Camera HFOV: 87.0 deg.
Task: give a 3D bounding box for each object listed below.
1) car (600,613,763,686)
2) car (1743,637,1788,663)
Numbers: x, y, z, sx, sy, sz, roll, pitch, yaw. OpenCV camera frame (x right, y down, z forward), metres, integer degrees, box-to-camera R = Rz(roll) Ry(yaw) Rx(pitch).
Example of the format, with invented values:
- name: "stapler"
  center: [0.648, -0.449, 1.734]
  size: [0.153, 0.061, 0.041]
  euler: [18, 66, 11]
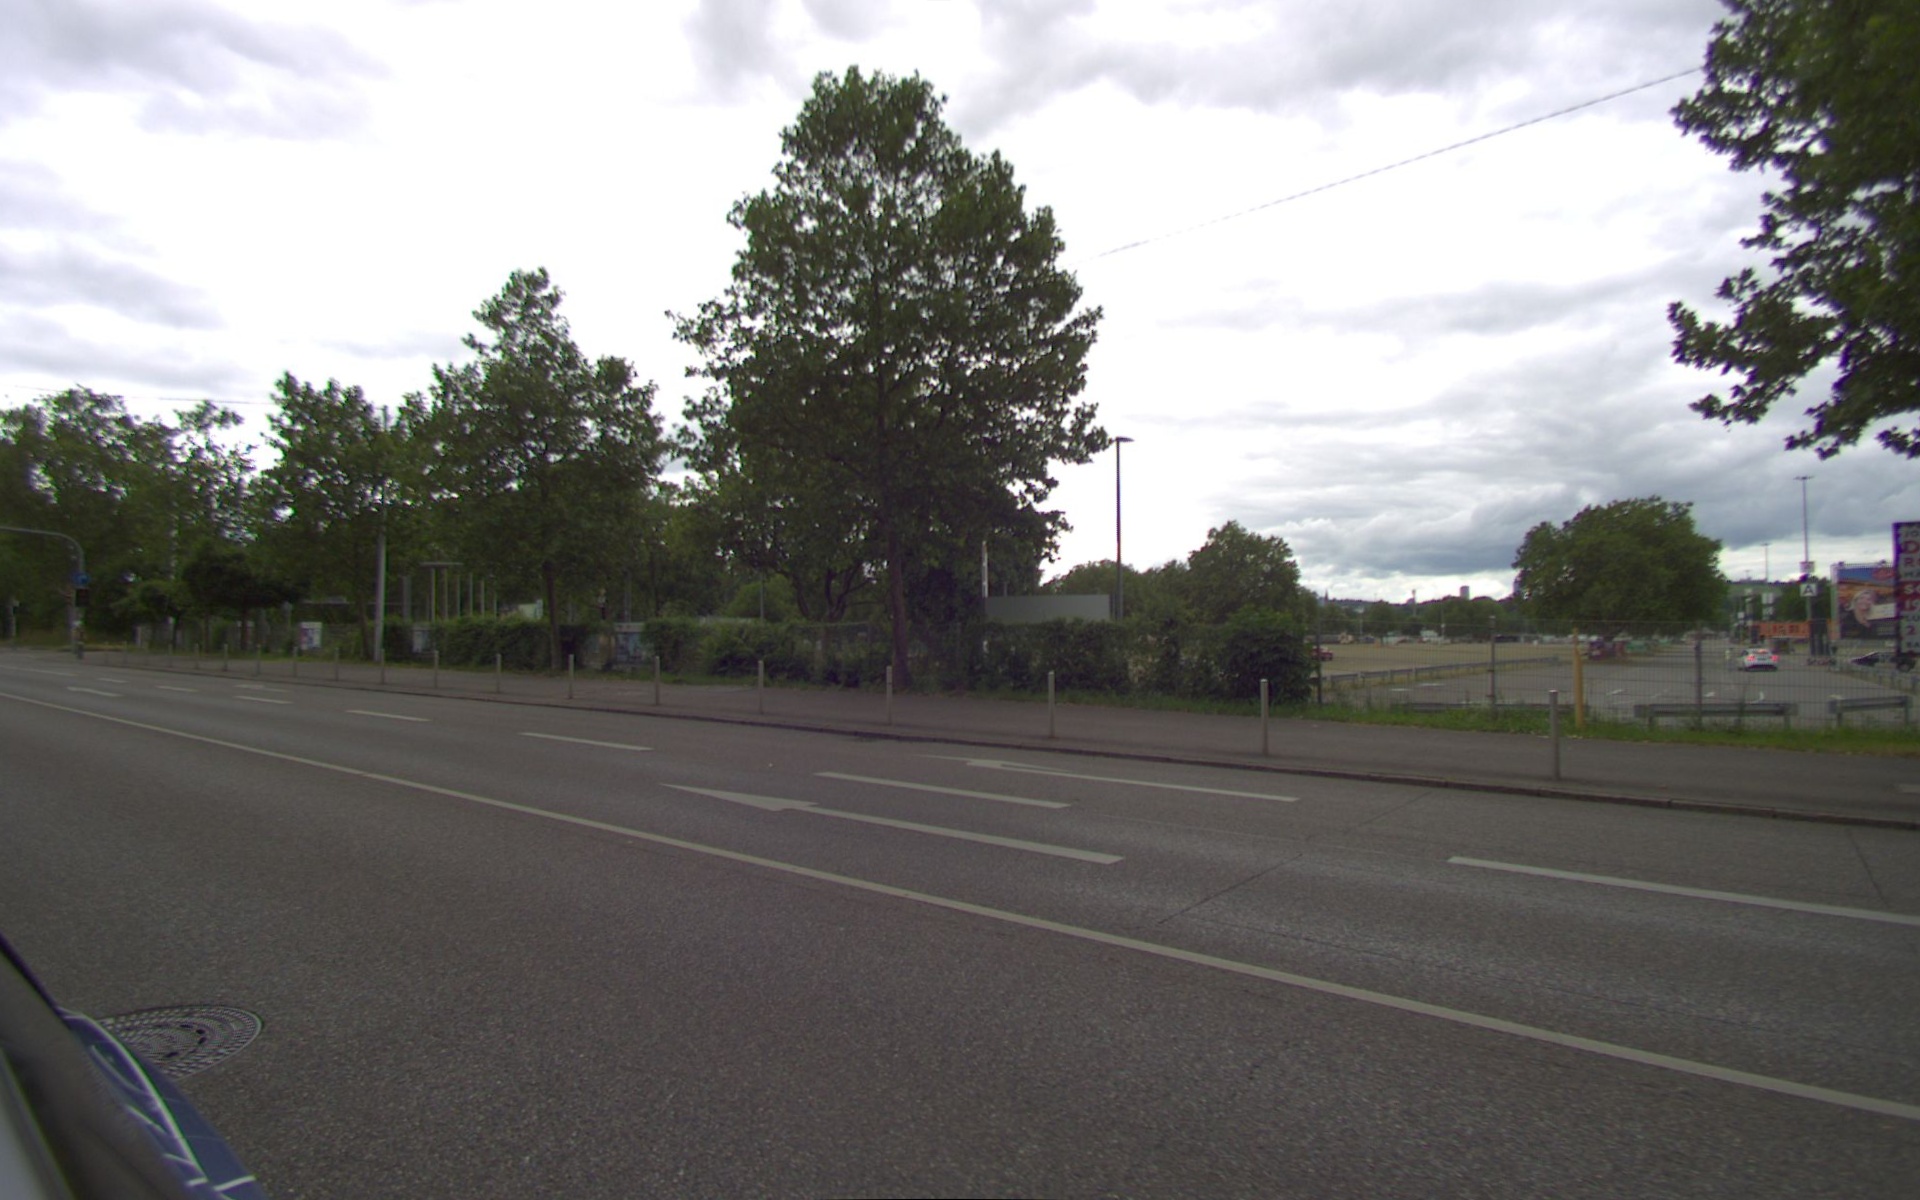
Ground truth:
- name: "car"
  center: [-8.449, 1.461, 30.621]
  size: [4.624, 2.029, 2.366]
  euler: [-1, -2, 34]
- name: "car"
  center: [58.672, 3.628, 73.793]
  size: [1.993, 1.716, 3.946]
  euler: [-1, 0, 31]
